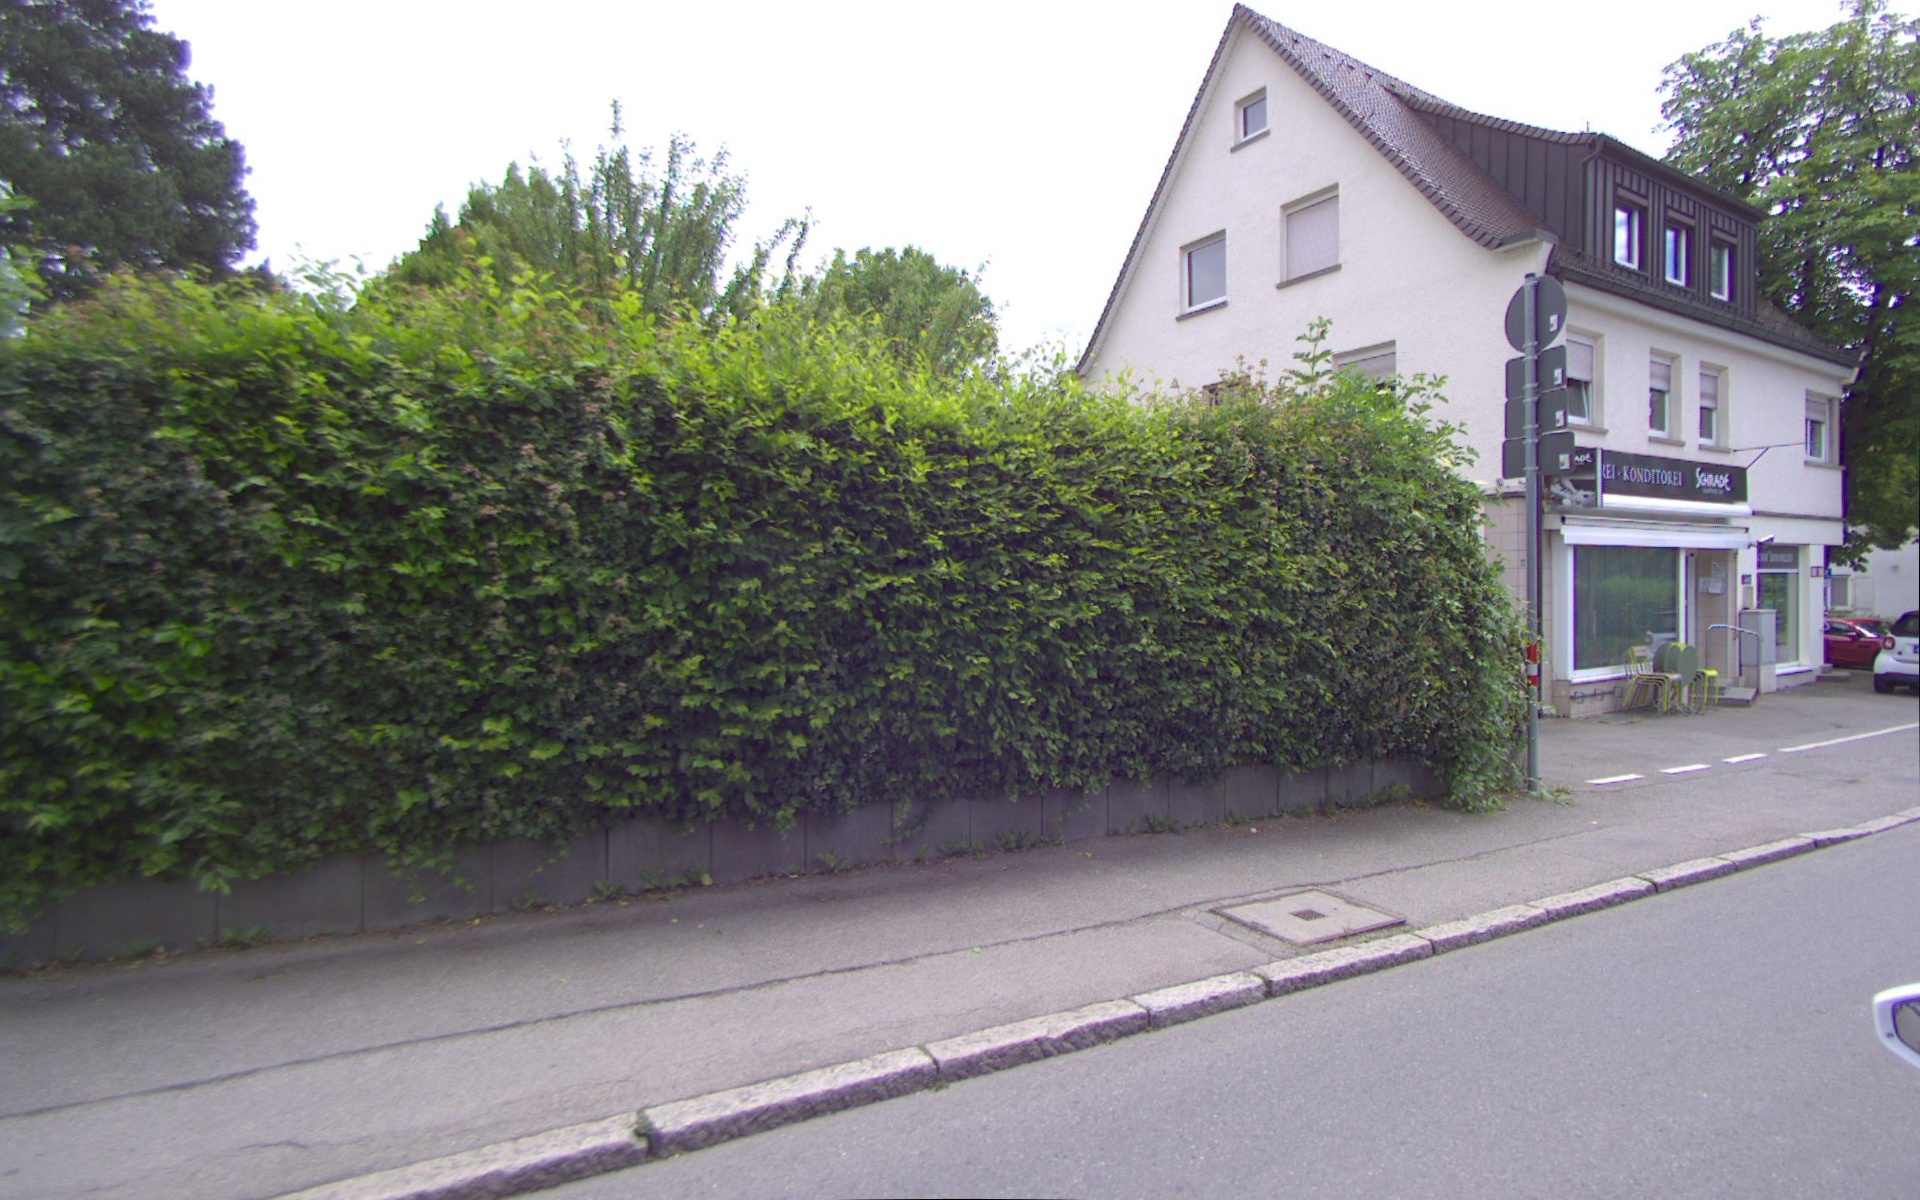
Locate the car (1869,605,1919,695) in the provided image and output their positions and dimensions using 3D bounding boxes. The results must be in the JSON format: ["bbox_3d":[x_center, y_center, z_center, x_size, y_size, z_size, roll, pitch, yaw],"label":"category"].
[{"bbox_3d":[18.317,0.914,18.475,2.890,1.559,1.580,0,3,-32],"label":"car"}]

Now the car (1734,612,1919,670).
[{"bbox_3d":[25.423,1.144,29.533,1.782,1.451,4.229,-2,0,-6],"label":"car"}]
